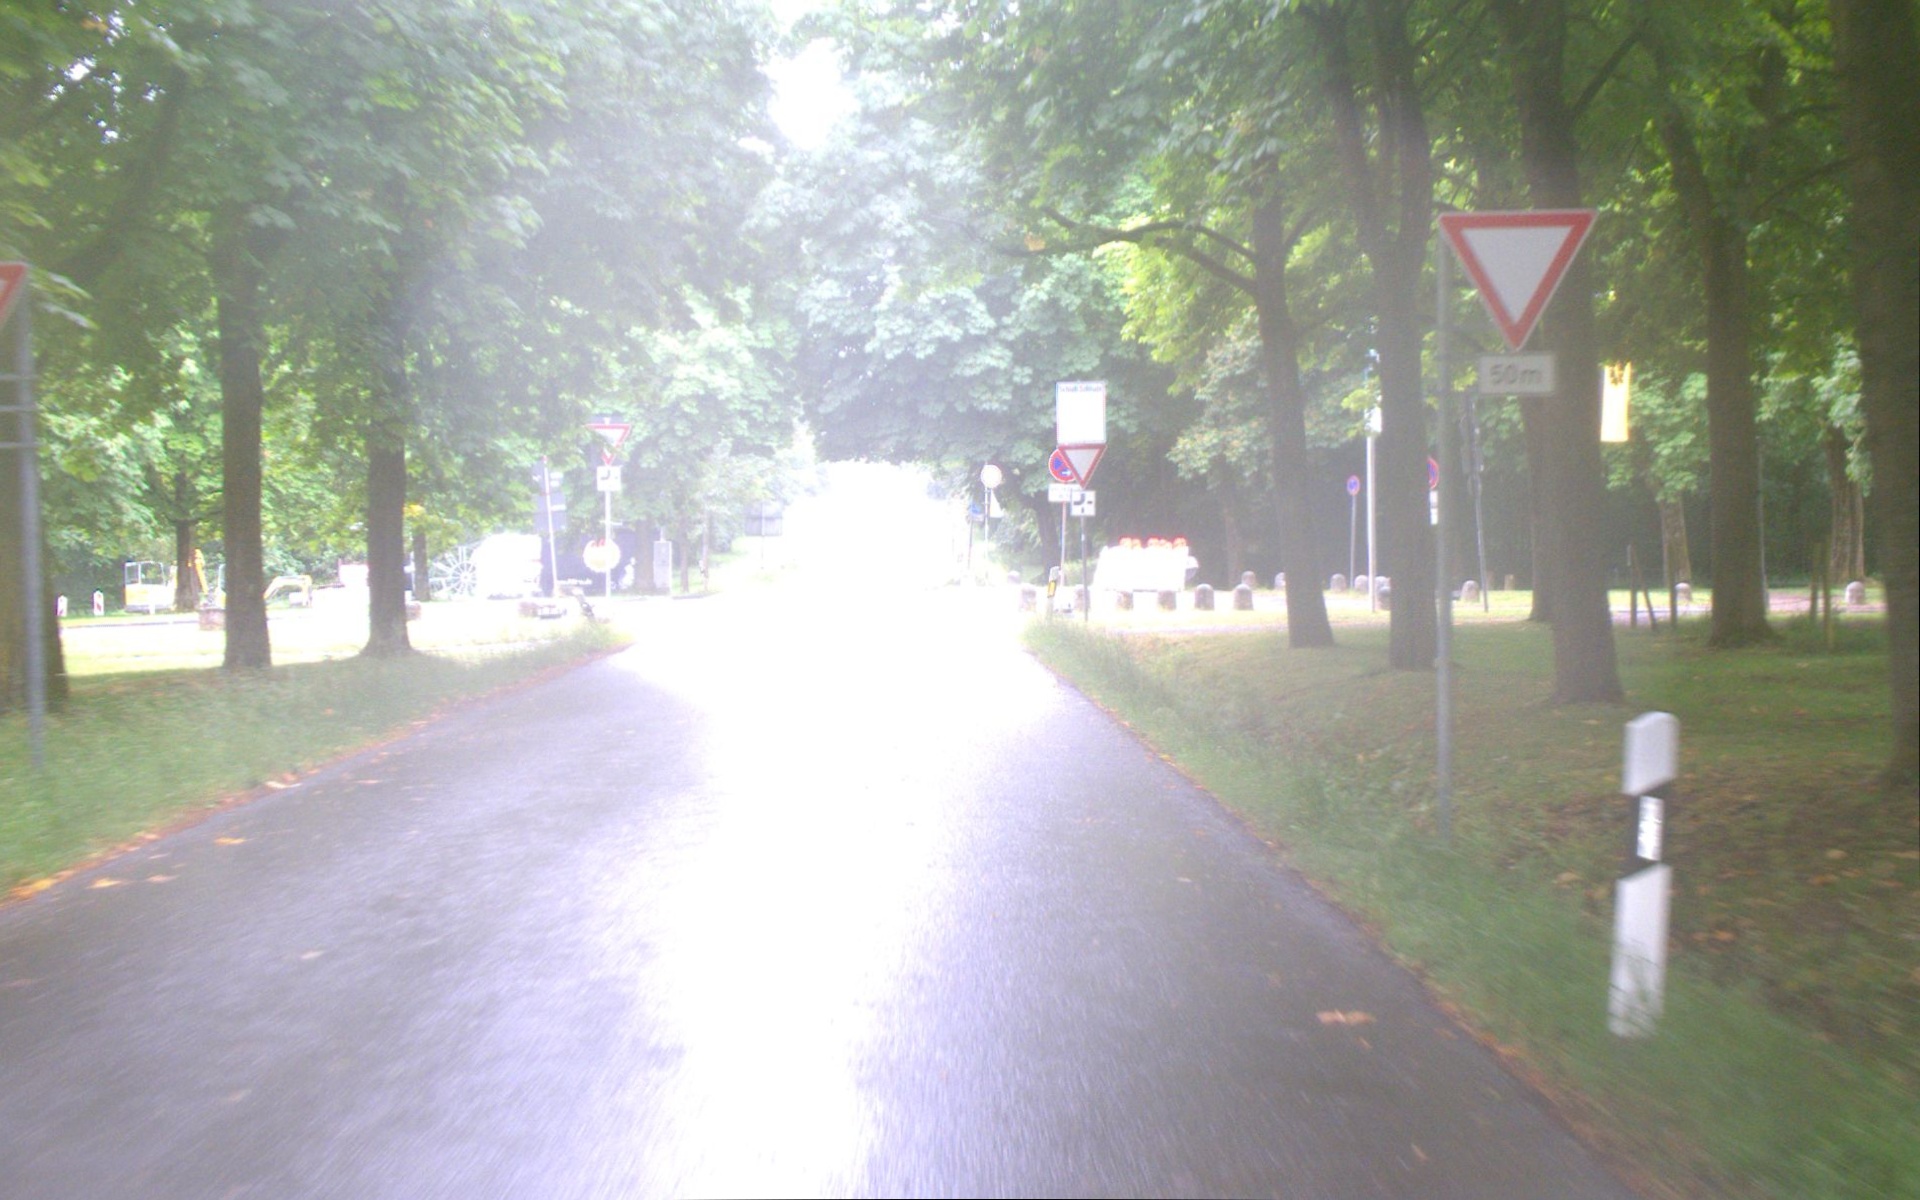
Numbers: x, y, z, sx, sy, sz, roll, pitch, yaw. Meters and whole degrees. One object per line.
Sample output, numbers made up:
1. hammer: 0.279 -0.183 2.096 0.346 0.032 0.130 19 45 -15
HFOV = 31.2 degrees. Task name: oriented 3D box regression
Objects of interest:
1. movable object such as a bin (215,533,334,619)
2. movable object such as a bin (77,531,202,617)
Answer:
1. movable object such as a bin: -27.566 -0.966 138.195 4.580 3.283 3.667 -1 1 -12
2. movable object such as a bin: -32.550 -1.035 136.495 4.653 3.283 3.915 -1 1 -12
